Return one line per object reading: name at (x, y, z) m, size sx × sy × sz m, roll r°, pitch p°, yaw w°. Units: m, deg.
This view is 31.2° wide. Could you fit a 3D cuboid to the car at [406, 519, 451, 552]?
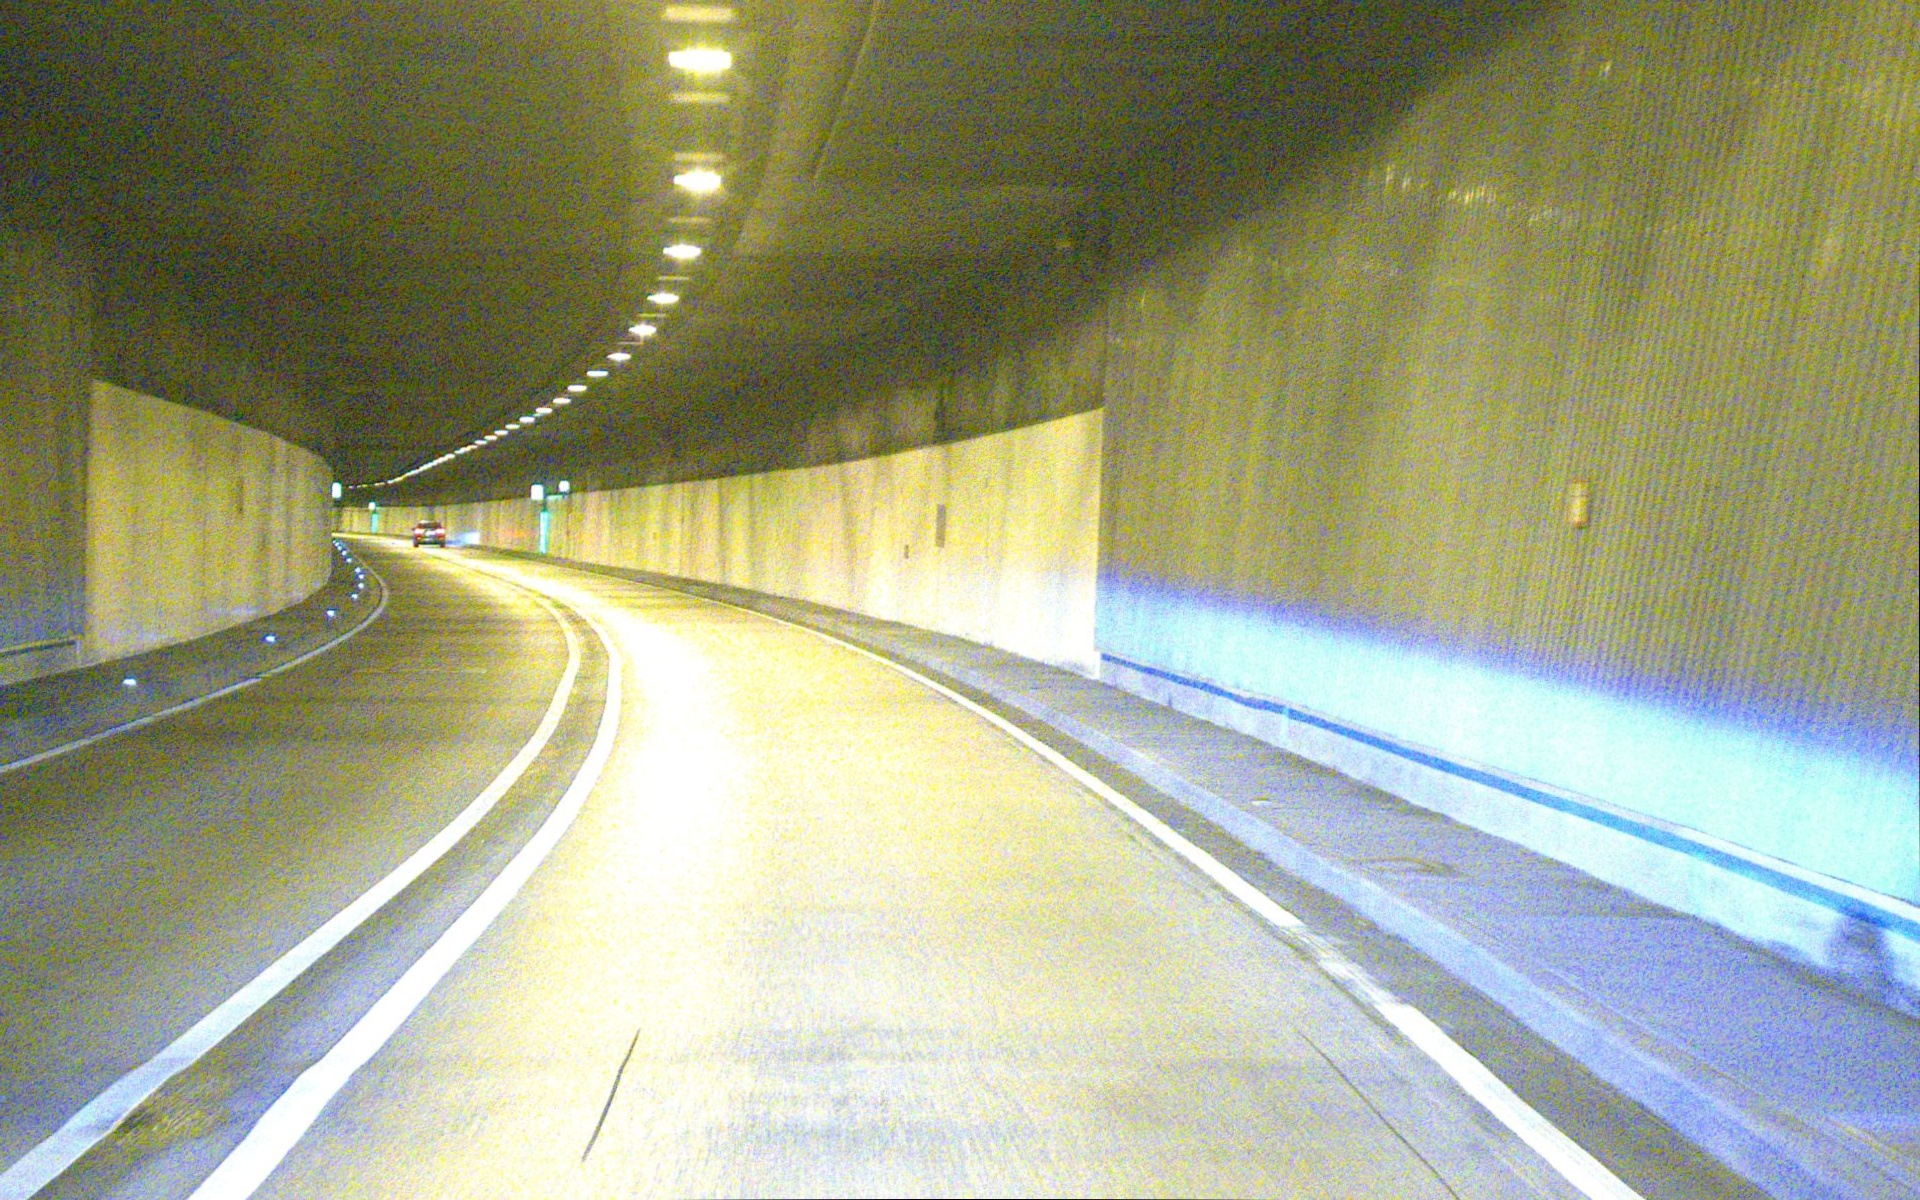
car at (-31.948, -3.866, 206.615) m, size 1.966 × 1.932 × 4.614 m, roll 1°, pitch 0°, yaw -18°
